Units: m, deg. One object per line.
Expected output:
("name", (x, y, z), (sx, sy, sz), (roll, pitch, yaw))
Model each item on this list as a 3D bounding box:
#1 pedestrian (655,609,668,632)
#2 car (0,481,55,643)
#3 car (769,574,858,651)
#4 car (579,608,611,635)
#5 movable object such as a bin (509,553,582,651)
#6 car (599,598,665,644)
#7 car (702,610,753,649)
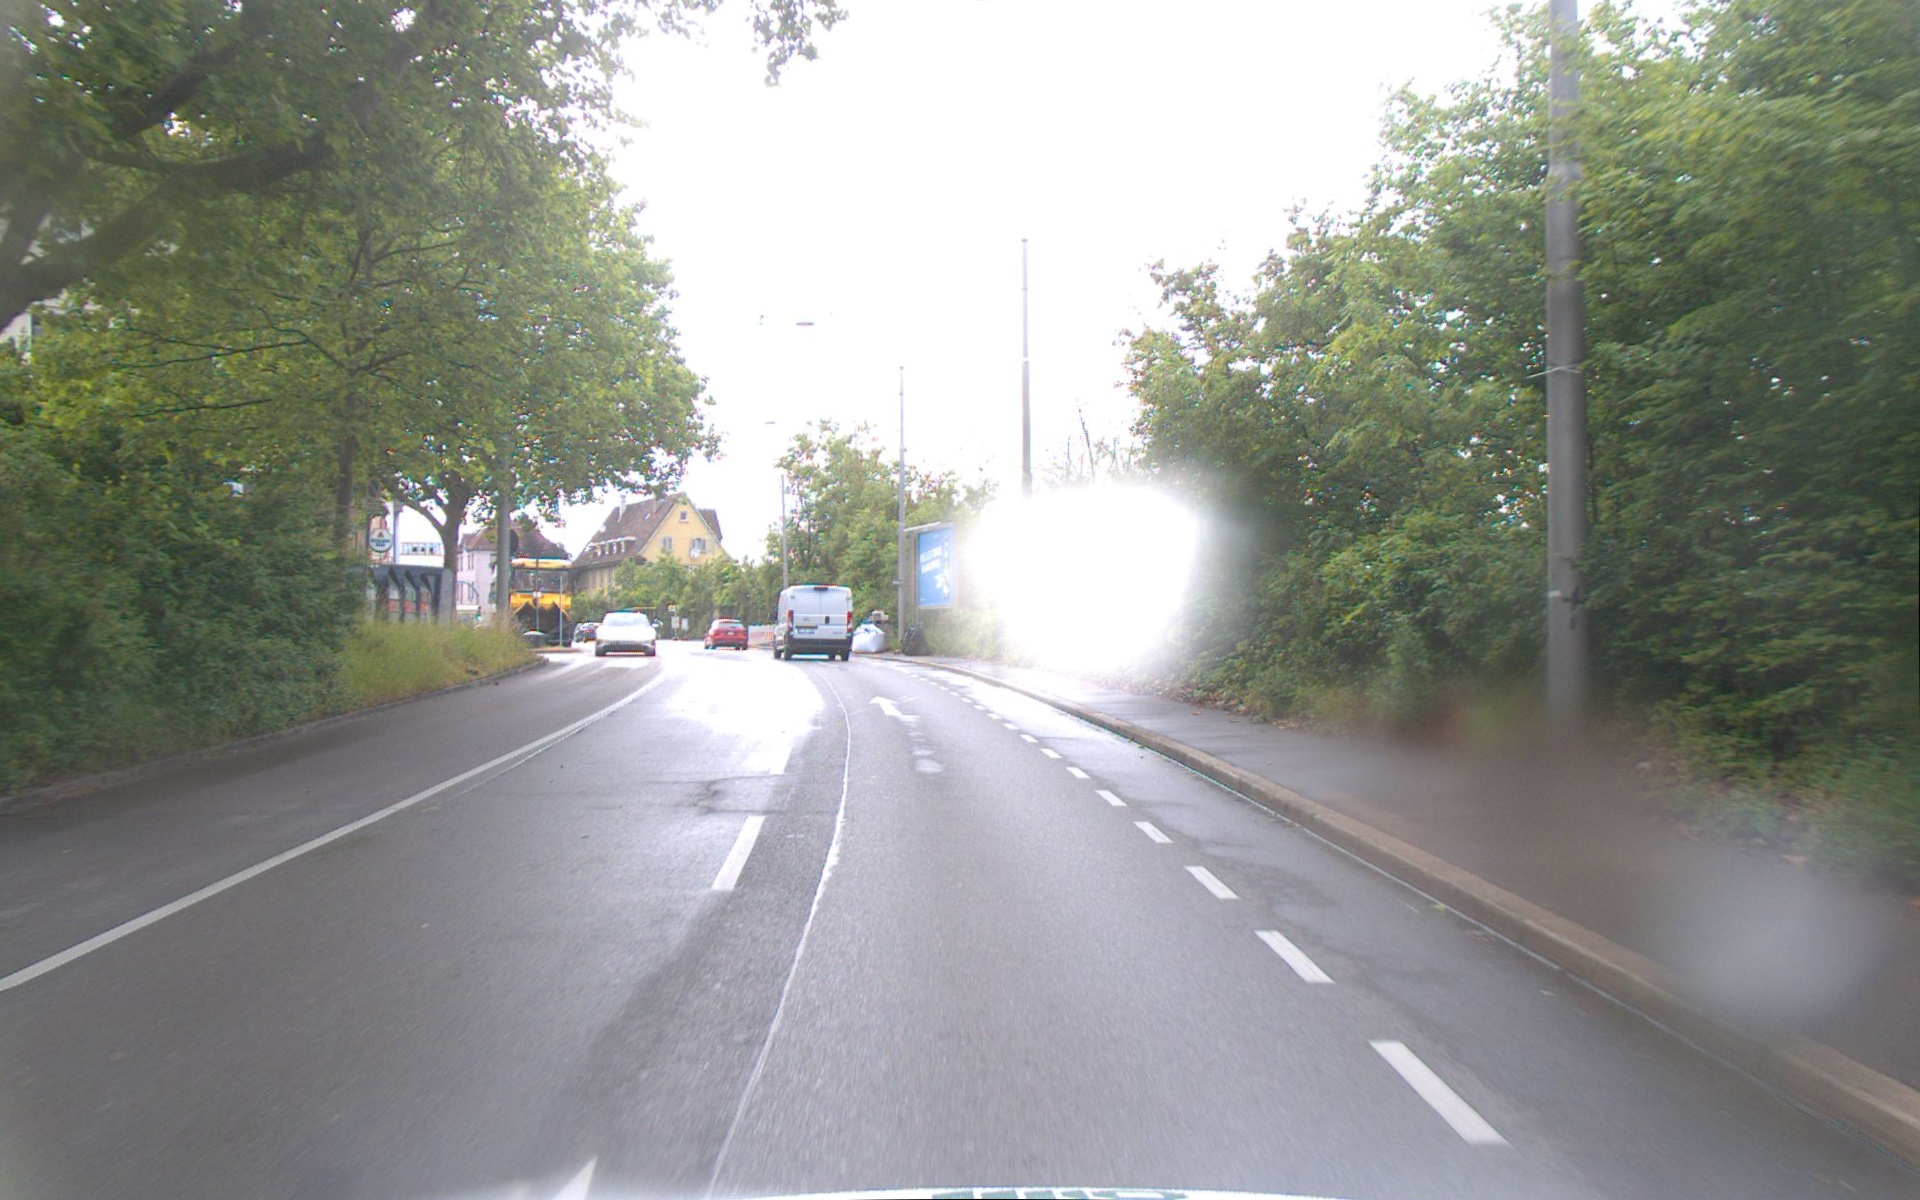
("pedestrian", (-22.847, 1.552, 126.584), (0.890, 1.761, 0.651), (1, 0, -14))
("car", (-12.052, -0.452, 18.061), (1.793, 1.875, 4.627), (1, 1, -1))
("car", (-4.659, 0.355, 52.064), (2.198, 2.252, 4.699), (1, 1, -12))
("car", (-26.793, 1.552, 121.315), (2.200, 1.836, 4.696), (1, 1, -14))
("movable object such as a bin", (-17.599, 0.033, 70.480), (2.726, 3.923, 5.969), (1, 1, -12))
("car", (-10.911, 0.669, 54.906), (2.035, 1.376, 4.699), (1, 1, -12))
("car", (-11.292, 1.419, 80.096), (2.197, 1.685, 4.702), (1, 1, -10))
